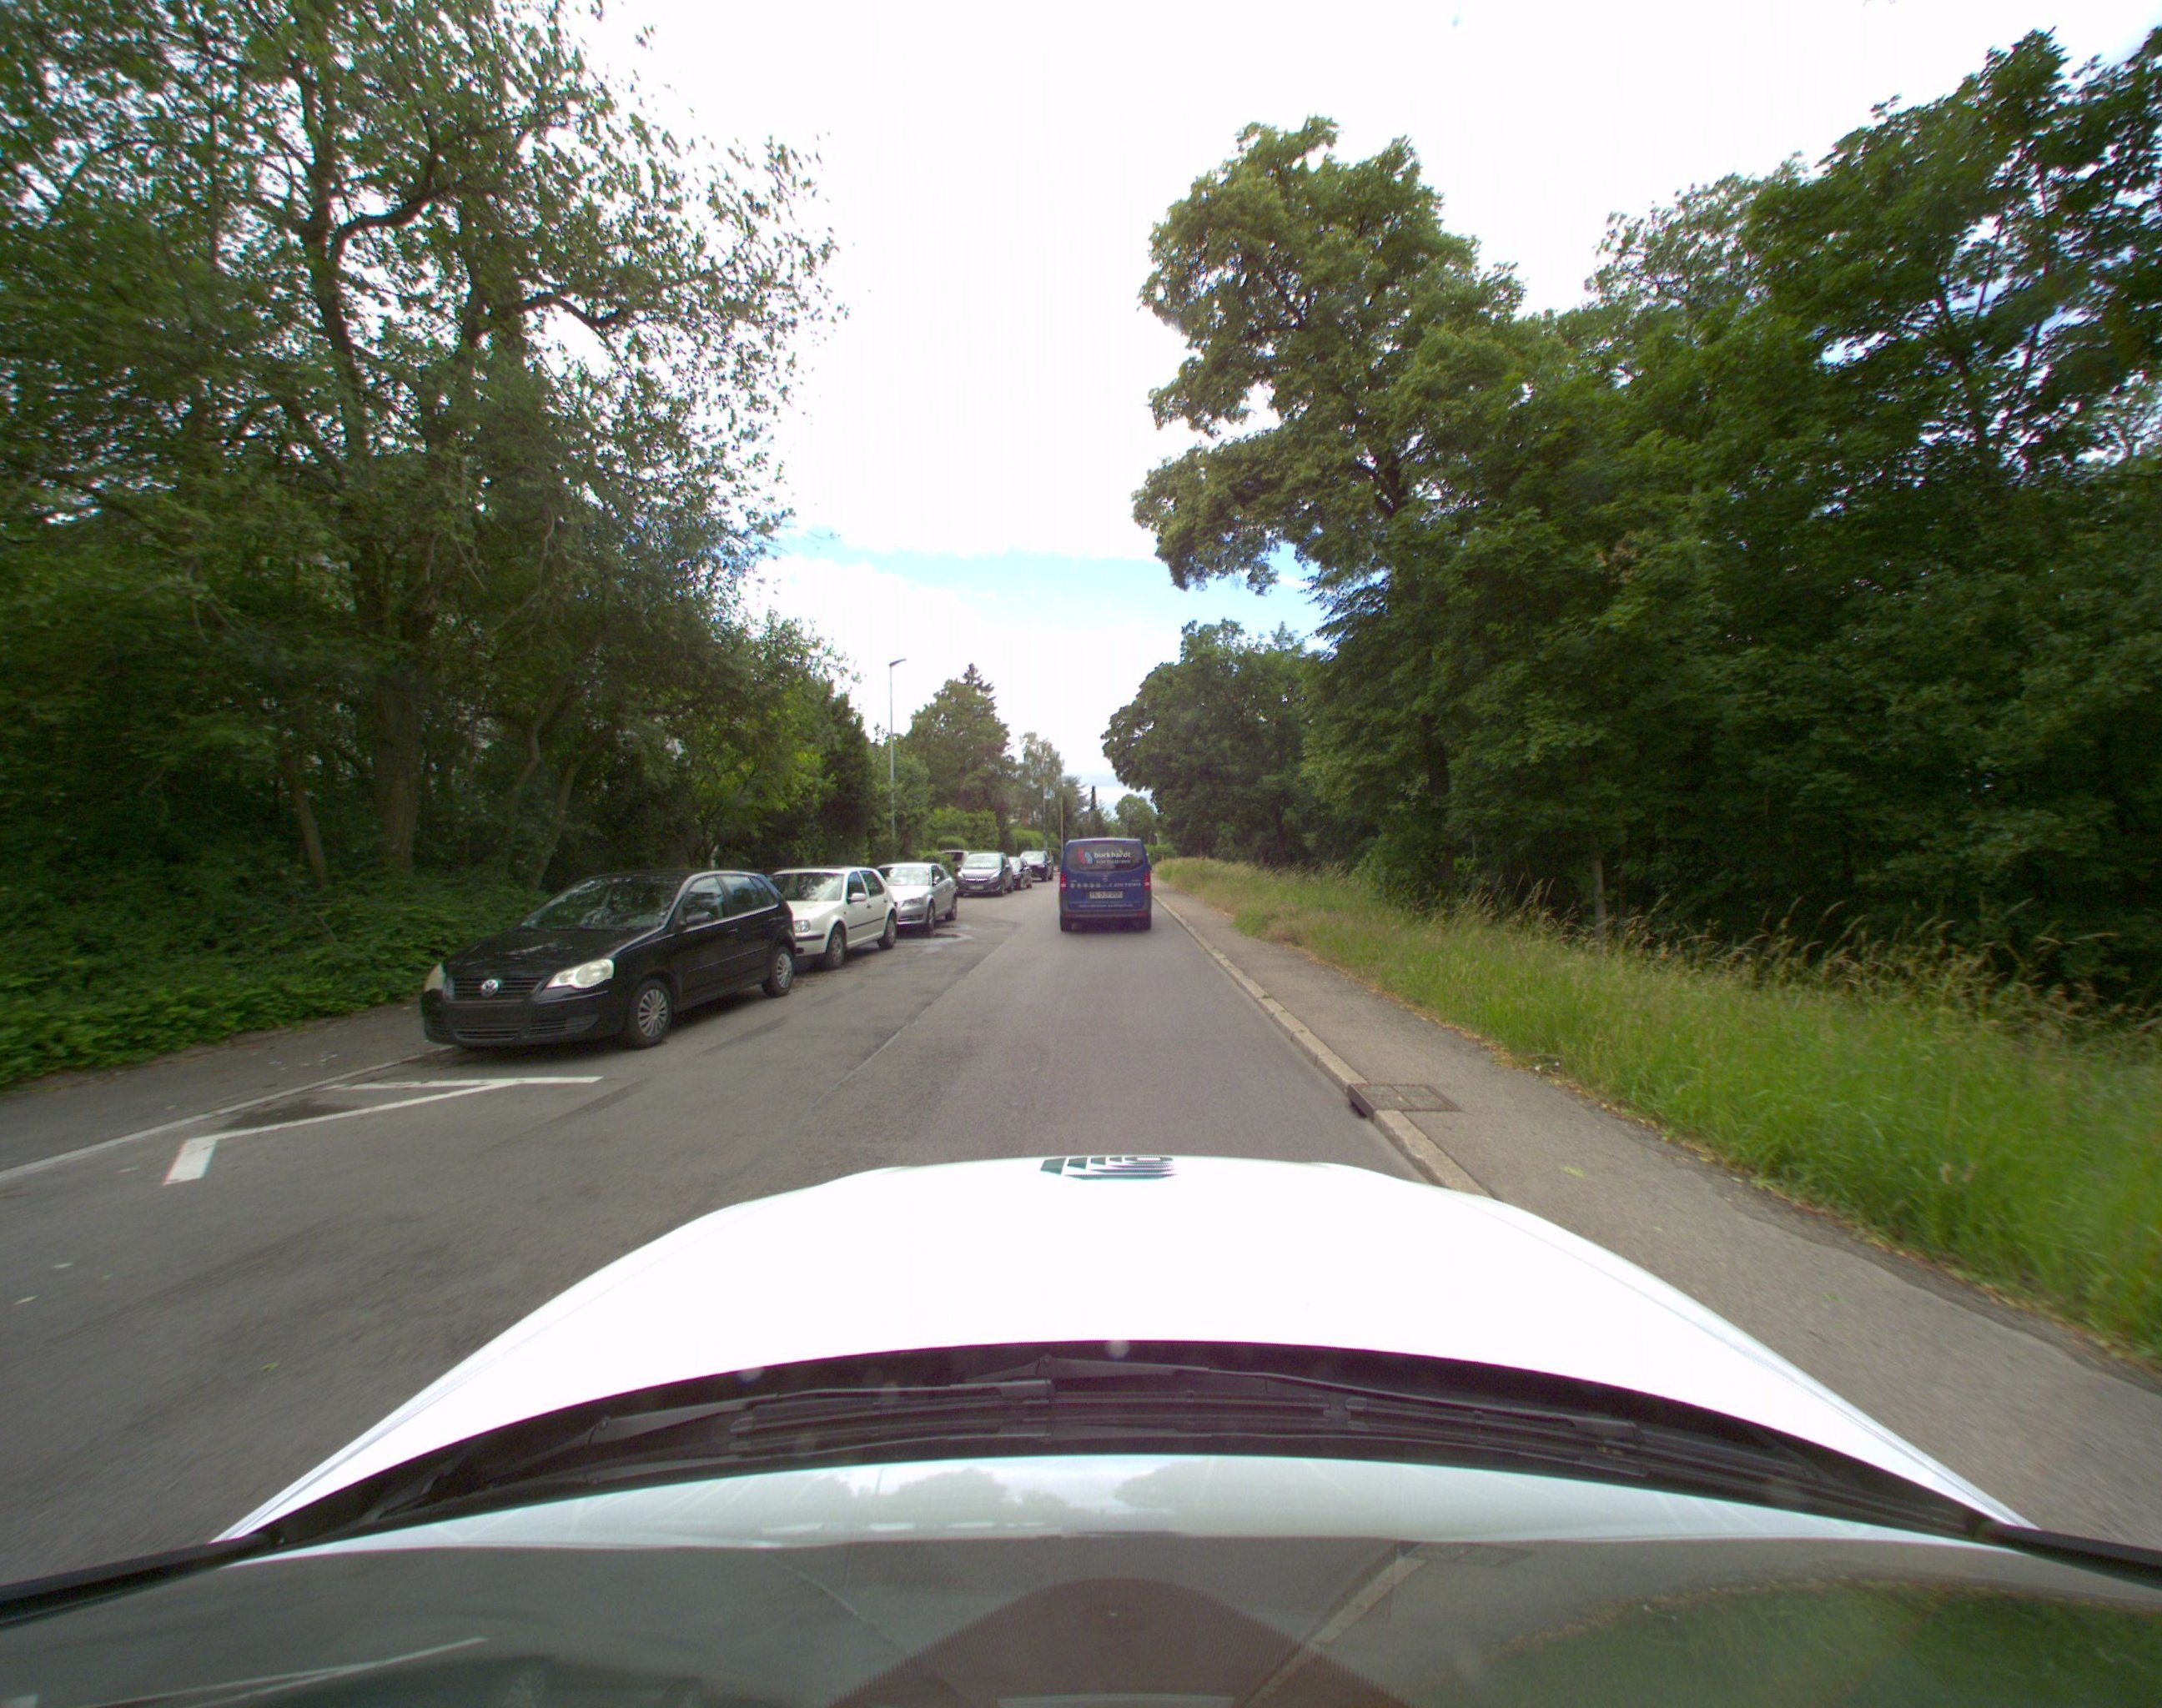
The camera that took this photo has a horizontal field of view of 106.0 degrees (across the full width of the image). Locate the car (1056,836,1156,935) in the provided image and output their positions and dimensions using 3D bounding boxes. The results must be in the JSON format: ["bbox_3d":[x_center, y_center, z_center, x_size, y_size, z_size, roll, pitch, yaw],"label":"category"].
[{"bbox_3d":[0.443,0.565,17.706,1.883,1.844,3.998,-2,1,-1],"label":"car"}]

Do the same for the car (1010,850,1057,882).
[{"bbox_3d":[-2.643,0.646,46.948,1.965,1.737,5.196,0,0,5],"label":"car"}]

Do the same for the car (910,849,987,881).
[{"bbox_3d":[-7.188,0.581,44.220,3.664,1.637,1.836,0,0,15],"label":"car"}]

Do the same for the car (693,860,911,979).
[{"bbox_3d":[-4.088,0.869,12.774,1.653,1.452,4.385,-1,0,3],"label":"car"}]

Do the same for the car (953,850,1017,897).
[{"bbox_3d":[-3.529,0.684,30.784,1.724,1.632,4.570,0,0,2],"label":"car"}]

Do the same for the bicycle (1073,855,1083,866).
[{"bbox_3d":[-0.321,0.749,95.316,0.901,1.252,2.920,2,0,6],"label":"bicycle"}]

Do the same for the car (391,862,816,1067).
[{"bbox_3d":[-4.215,0.849,8.053,1.615,1.450,3.973,-2,0,4],"label":"car"}]

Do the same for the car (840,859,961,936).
[{"bbox_3d":[-3.882,0.877,18.189,1.617,1.450,4.095,-2,0,2],"label":"car"}]

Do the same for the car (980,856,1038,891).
[{"bbox_3d":[-3.124,0.810,36.226,1.746,1.412,4.905,0,0,5],"label":"car"}]
